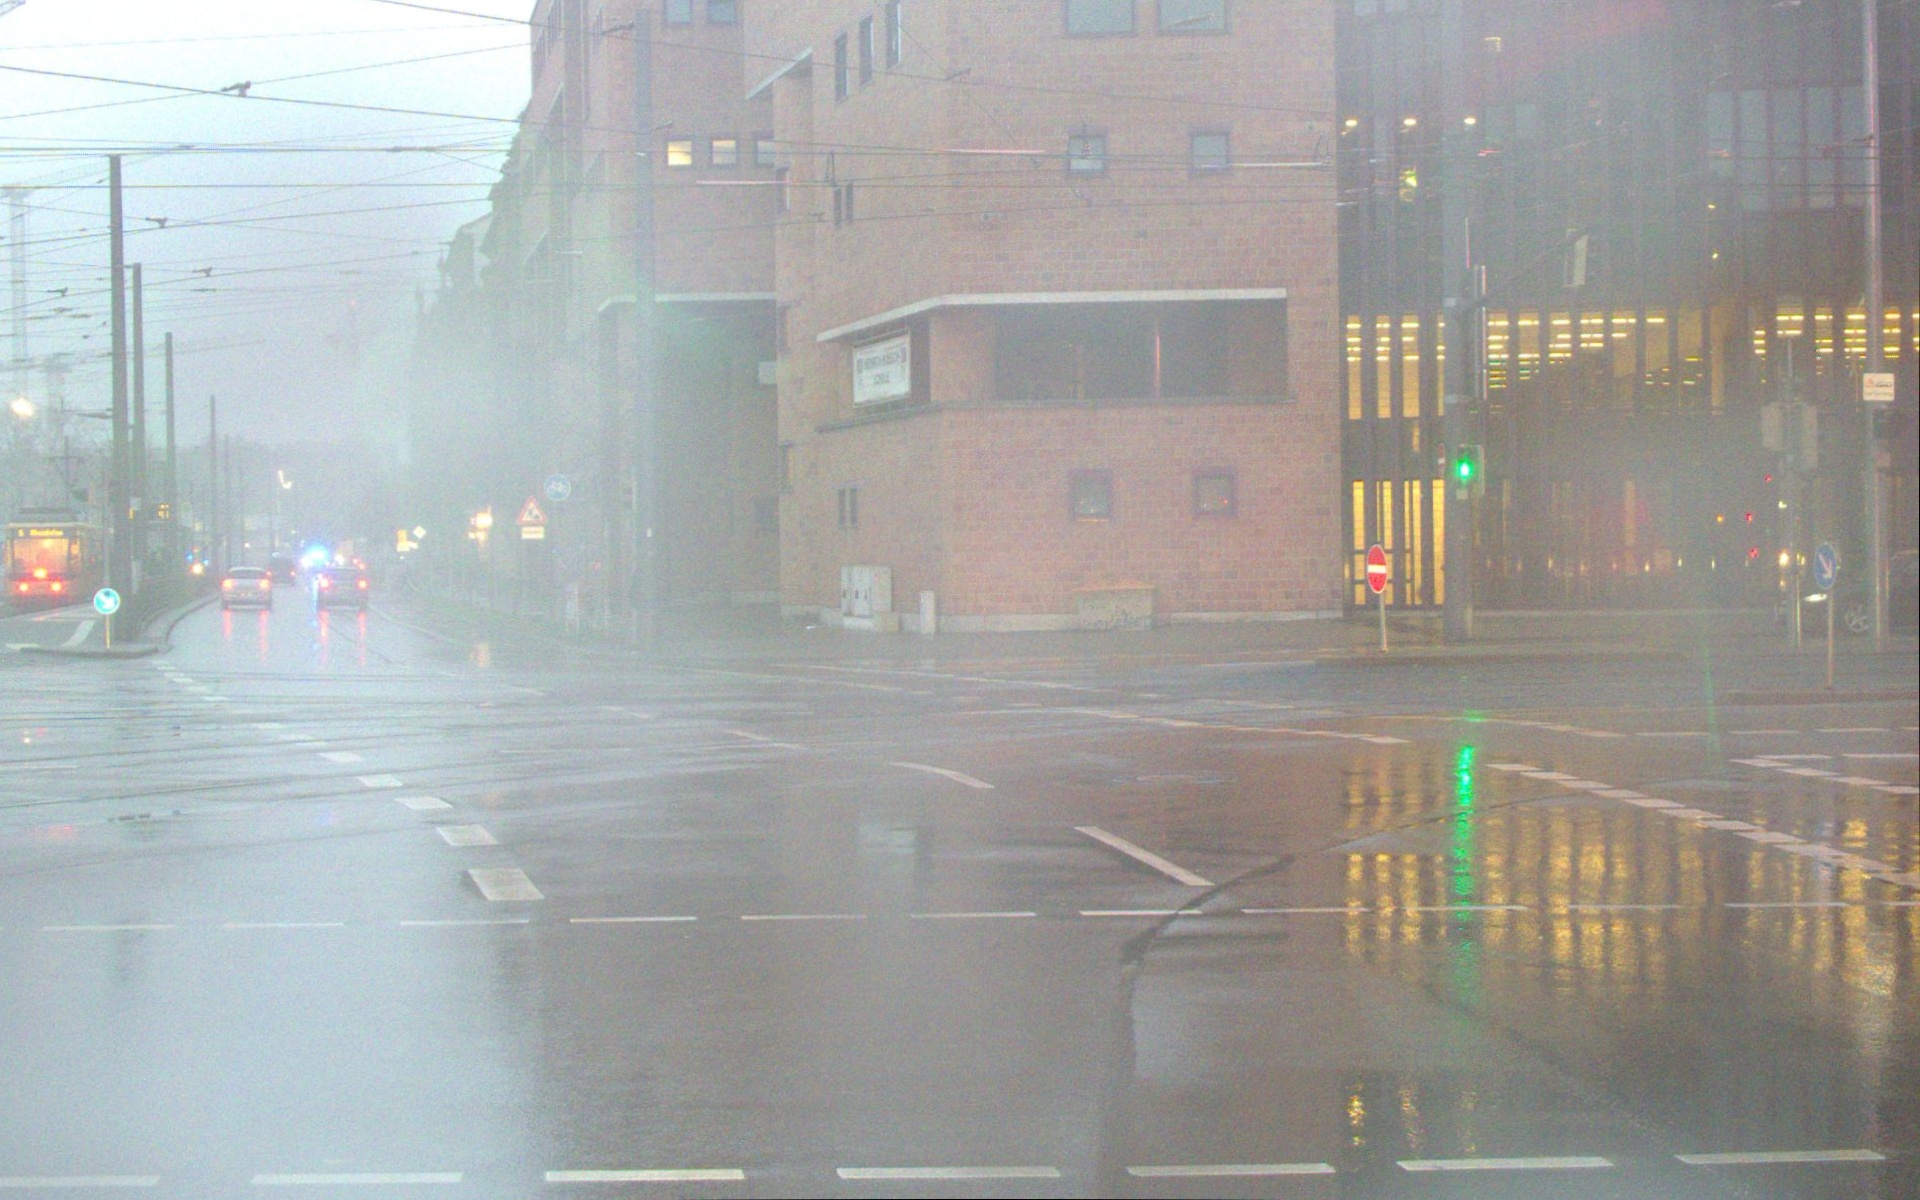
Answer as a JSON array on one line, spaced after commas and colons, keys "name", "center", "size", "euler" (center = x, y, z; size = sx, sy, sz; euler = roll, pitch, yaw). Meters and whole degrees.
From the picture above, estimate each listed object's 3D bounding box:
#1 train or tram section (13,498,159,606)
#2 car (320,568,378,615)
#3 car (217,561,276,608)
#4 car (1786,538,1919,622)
[{"name": "train or tram section", "center": [-31.602, -1.743, 125.512], "size": [3.190, 3.424, 27.839], "euler": [-1, 1, -10]}, {"name": "car", "center": [-21.795, -0.315, 122.736], "size": [1.870, 1.573, 4.001], "euler": [2, 1, -8]}, {"name": "car", "center": [-25.105, -0.559, 121.061], "size": [1.870, 1.573, 4.001], "euler": [1, 1, -10]}, {"name": "car", "center": [15.696, -0.355, 55.835], "size": [3.986, 1.305, 2.000], "euler": [-1, 1, -4]}]
